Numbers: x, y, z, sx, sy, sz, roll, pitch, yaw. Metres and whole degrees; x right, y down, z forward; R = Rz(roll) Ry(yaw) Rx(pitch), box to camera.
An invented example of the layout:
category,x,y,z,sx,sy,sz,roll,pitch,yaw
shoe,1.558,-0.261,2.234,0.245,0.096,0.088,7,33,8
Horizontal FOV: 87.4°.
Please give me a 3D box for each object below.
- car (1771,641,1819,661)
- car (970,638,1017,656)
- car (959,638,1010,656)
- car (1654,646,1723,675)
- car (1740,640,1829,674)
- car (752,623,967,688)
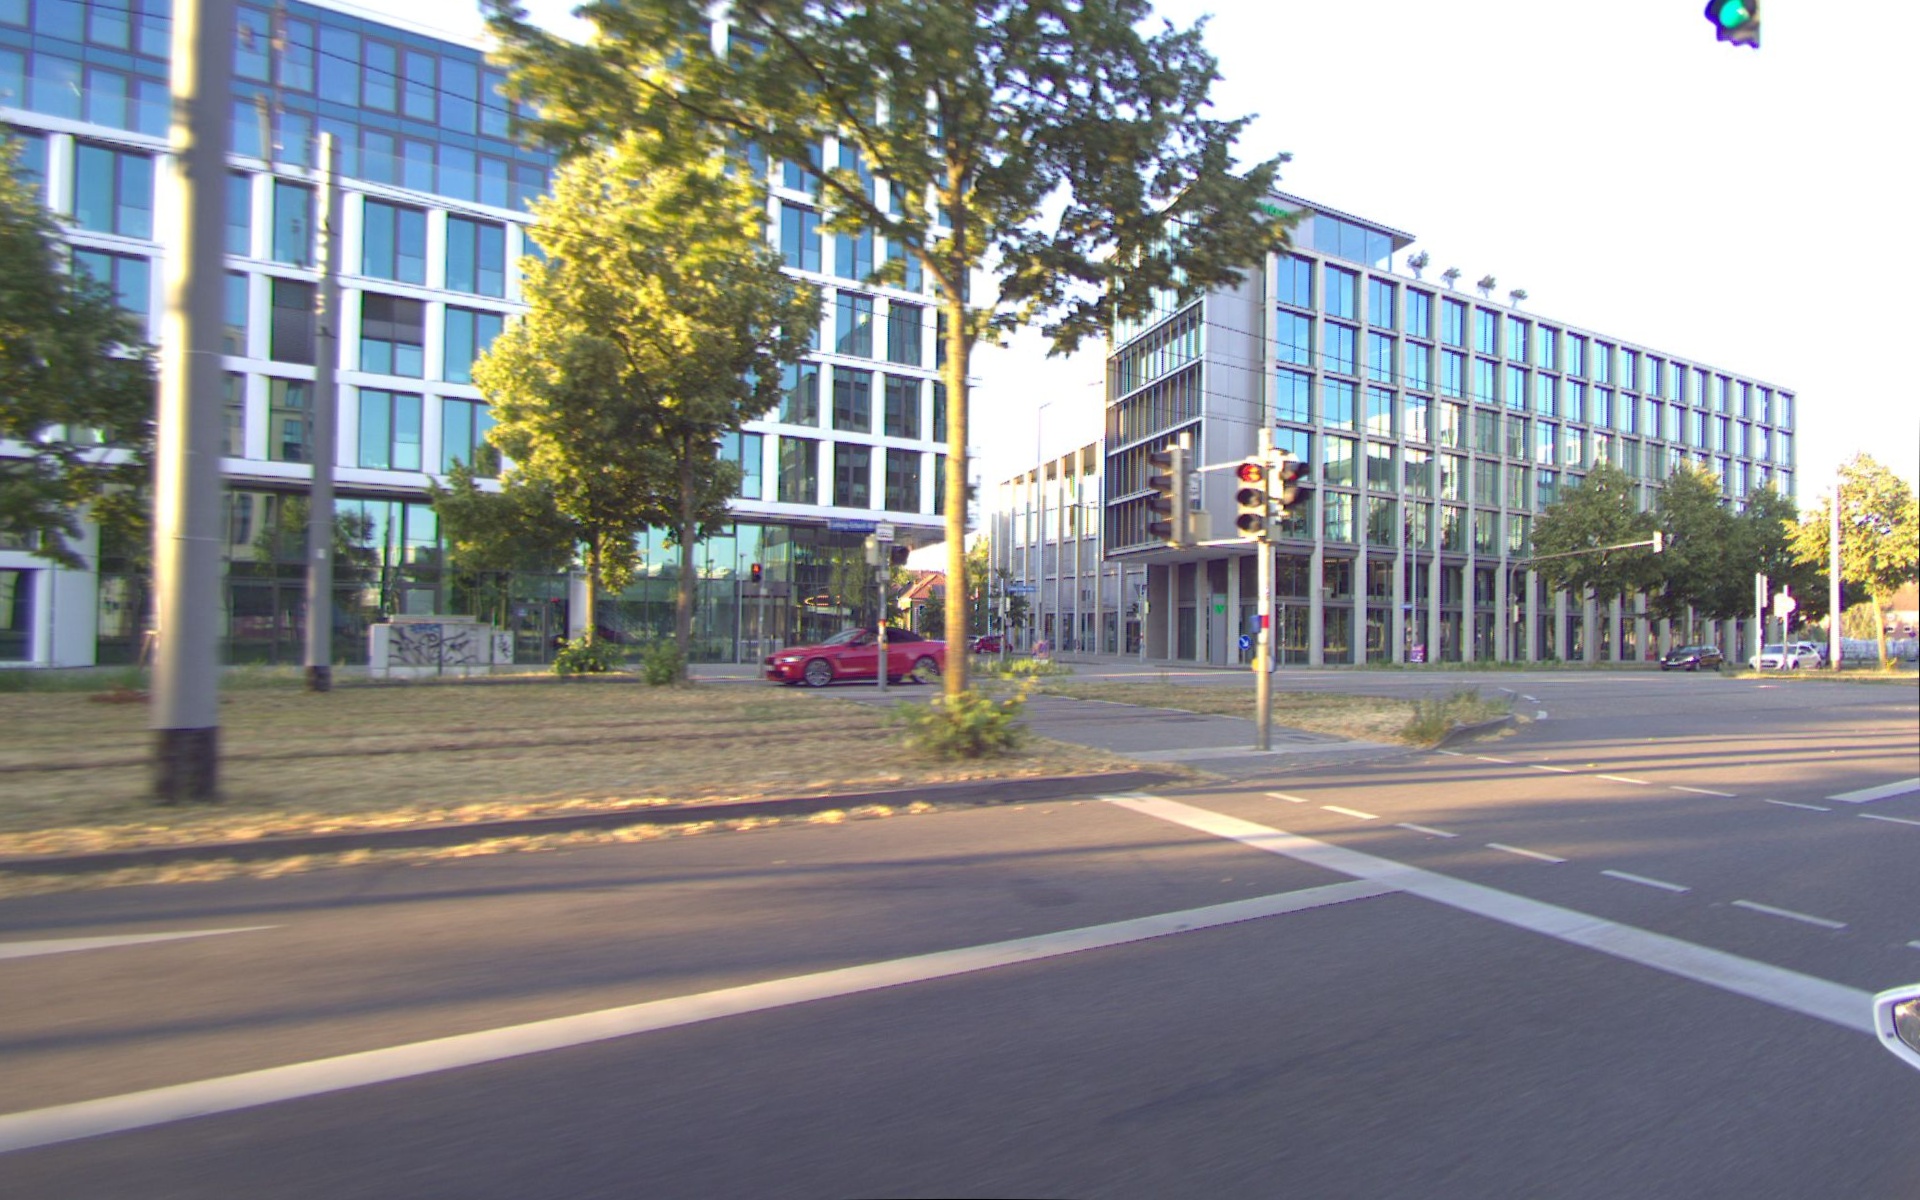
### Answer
category,x,y,z,sx,sy,sz,roll,pitch,yaw
car,86.659,5.304,104.188,5.023,2.040,2.197,2,-2,-29
car,3.000,4.212,90.201,3.937,1.576,1.697,1,-2,-18
car,2.246,4.270,92.106,4.466,1.576,1.695,1,-2,-21
car,39.218,3.239,54.087,3.955,1.468,1.632,2,-2,-32
car,39.035,2.704,47.542,4.579,1.505,1.893,2,-2,-32
car,-2.406,1.317,24.459,4.843,1.453,1.983,2,-2,-32
